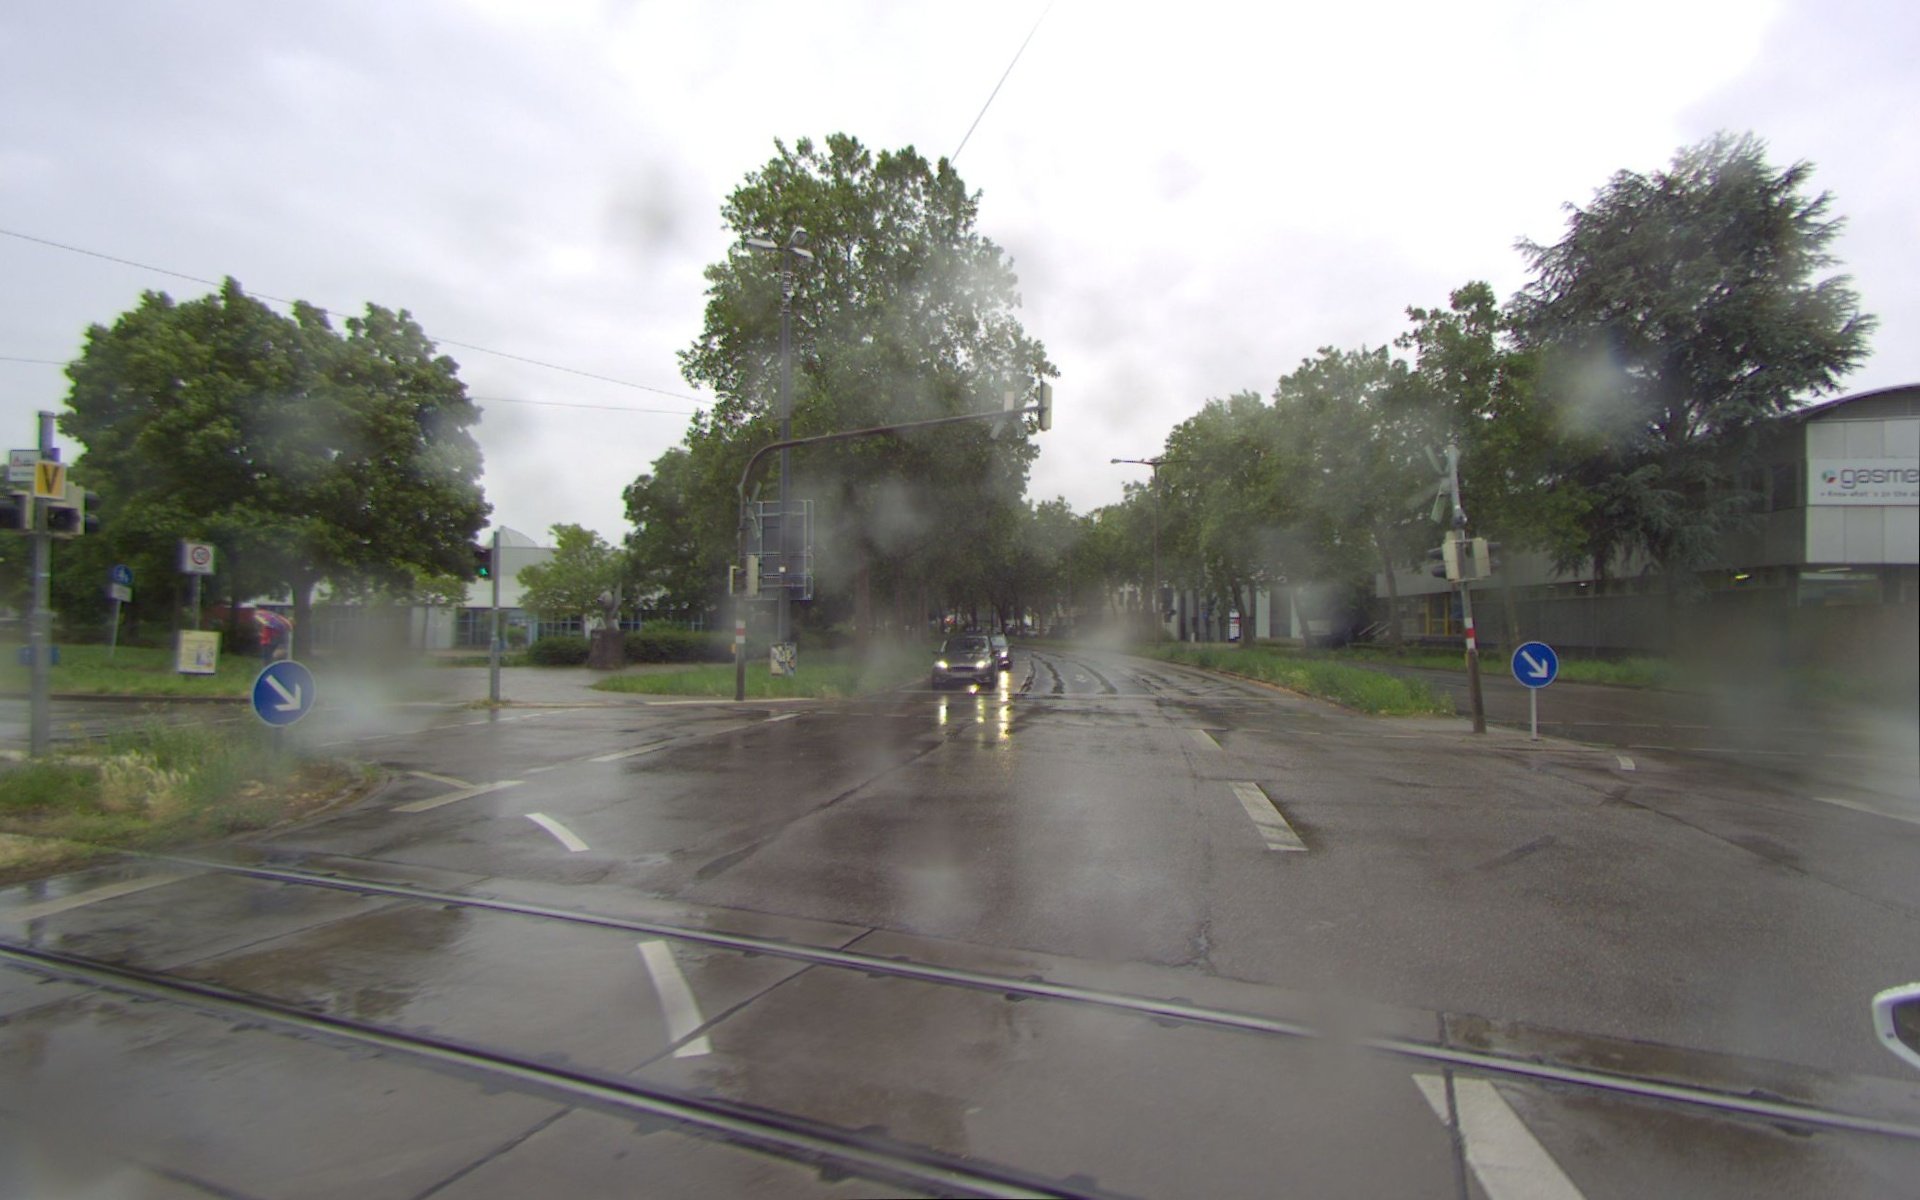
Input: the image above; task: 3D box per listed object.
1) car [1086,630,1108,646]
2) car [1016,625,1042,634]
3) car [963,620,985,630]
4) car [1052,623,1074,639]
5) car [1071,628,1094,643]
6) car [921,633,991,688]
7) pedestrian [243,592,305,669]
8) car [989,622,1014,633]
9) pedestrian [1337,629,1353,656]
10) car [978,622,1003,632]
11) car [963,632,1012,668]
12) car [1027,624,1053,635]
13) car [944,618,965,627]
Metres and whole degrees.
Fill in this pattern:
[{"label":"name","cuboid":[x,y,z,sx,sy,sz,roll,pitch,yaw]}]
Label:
[{"label":"car","cuboid":[16.677,4.582,122.482,1.961,1.806,3.999,0,0,-2]},{"label":"car","cuboid":[11.169,4.811,163.309,3.821,1.513,1.879,0,0,-20]},{"label":"car","cuboid":[2.749,4.862,195.627,3.938,1.844,1.991,0,0,-19]},{"label":"car","cuboid":[14.501,4.365,141.294,2.090,2.116,3.993,0,0,-9]},{"label":"car","cuboid":[15.761,4.517,129.575,1.963,1.806,3.995,0,0,-7]},{"label":"car","cuboid":[-0.049,1.688,28.771,1.769,1.420,4.316,-1,-2,3]},{"label":"pedestrian","cuboid":[-18.506,0.813,27.106,0.987,2.017,0.954,0,0,13]},{"label":"car","cuboid":[7.322,4.882,177.478,3.942,1.856,1.989,0,0,-22]},{"label":"pedestrian","cuboid":[24.368,2.673,63.578,0.660,1.690,0.824,0,0,-3]},{"label":"car","cuboid":[5.550,4.880,182.823,3.938,1.844,1.991,0,0,-19]},{"label":"car","cuboid":[1.221,2.132,42.539,1.768,1.425,4.463,0,-3,5]},{"label":"car","cuboid":[12.735,4.743,159.693,3.815,1.673,1.882,0,0,-15]},{"label":"car","cuboid":[-1.194,4.646,206.264,3.938,1.844,1.991,0,0,-19]}]
